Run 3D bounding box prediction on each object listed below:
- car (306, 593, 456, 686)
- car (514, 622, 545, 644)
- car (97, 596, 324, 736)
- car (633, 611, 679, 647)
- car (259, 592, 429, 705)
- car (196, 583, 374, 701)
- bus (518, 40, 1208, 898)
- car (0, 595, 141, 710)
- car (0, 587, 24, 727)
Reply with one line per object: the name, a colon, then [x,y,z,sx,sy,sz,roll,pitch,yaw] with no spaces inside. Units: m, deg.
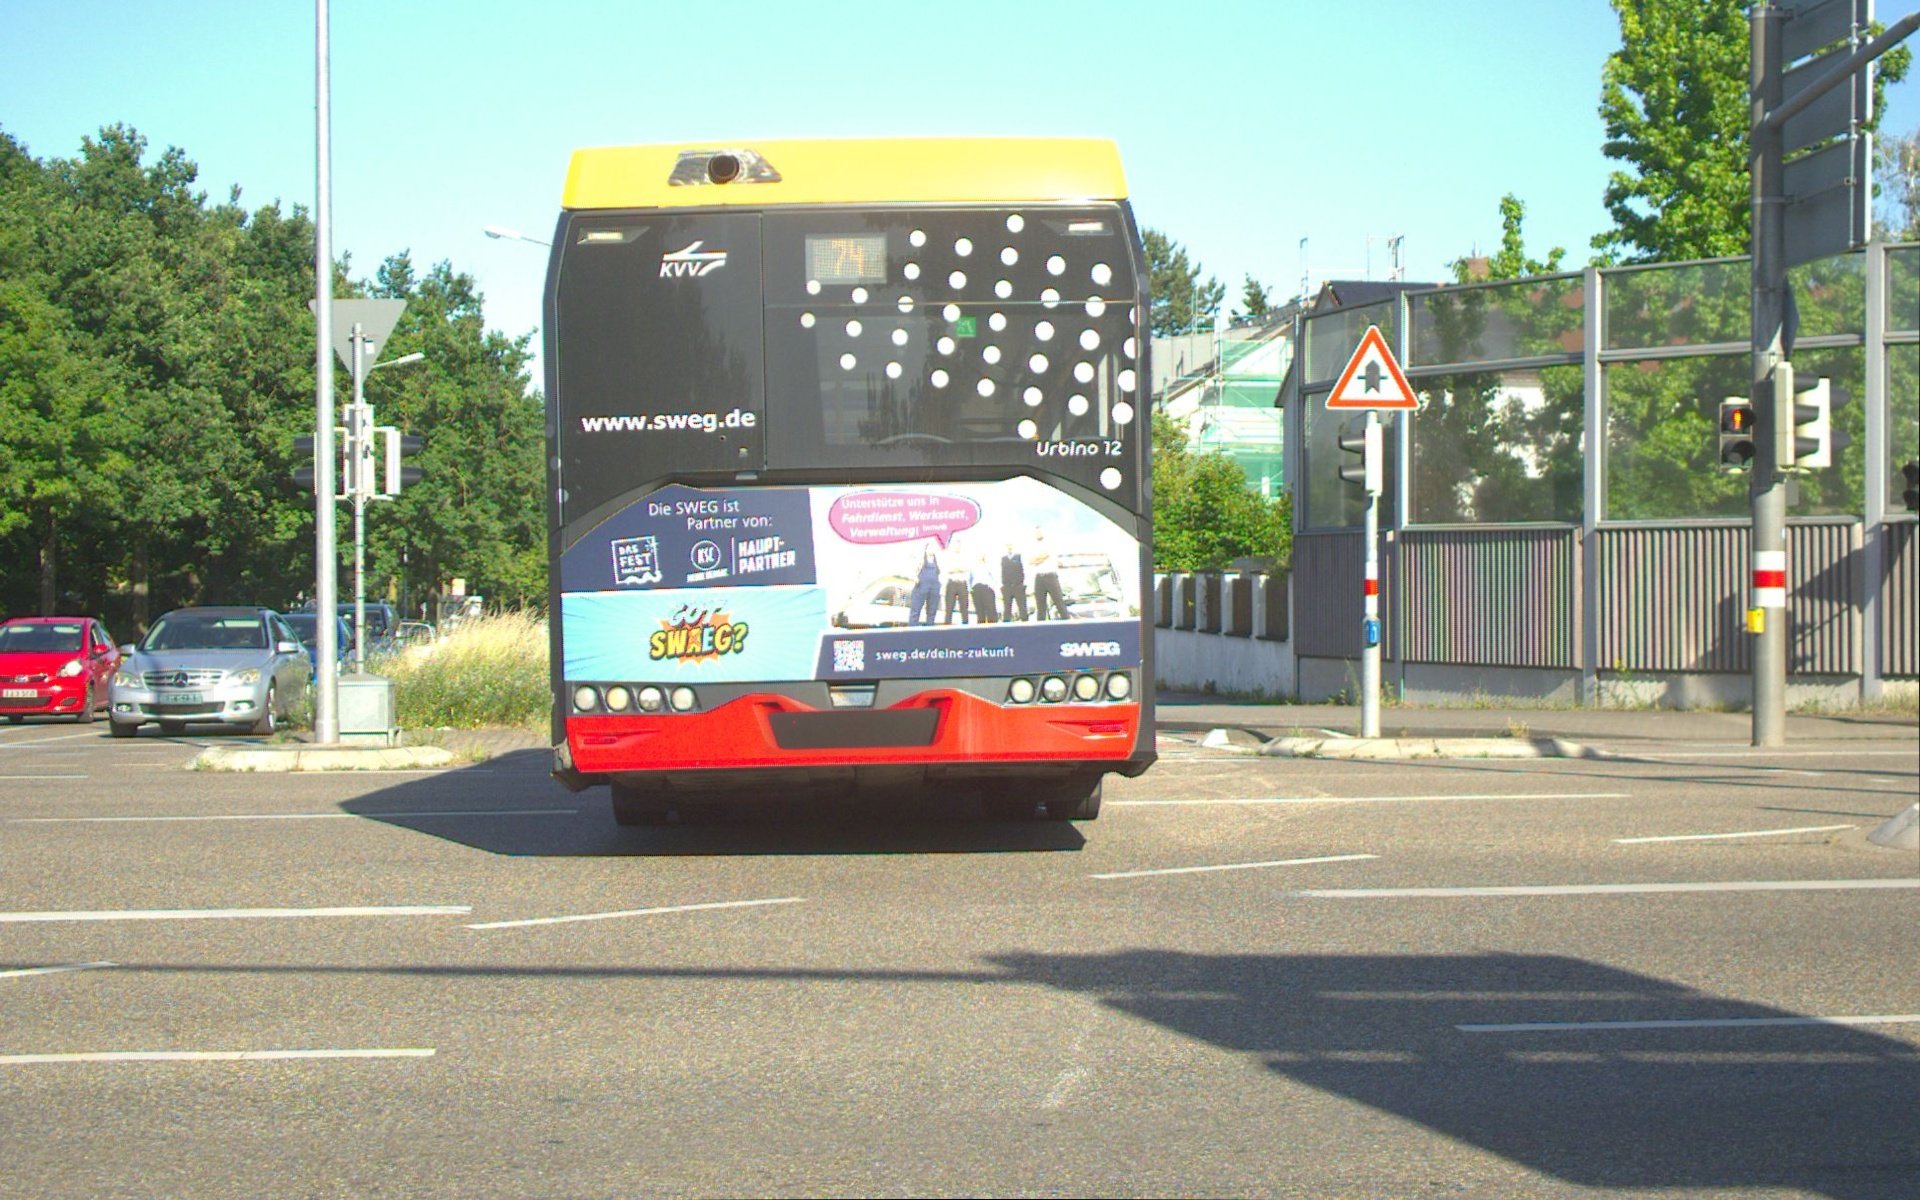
car: [-9.565,0.631,57.099,1.993,1.445,4.400,0,0,-3]
car: [-29.611,2.278,236.547,1.933,1.537,4.001,0,-1,-9]
car: [-8.512,0.713,39.392,1.793,1.501,4.530,0,0,-3]
car: [-14.936,1.428,168.672,1.933,1.736,4.001,0,-1,-9]
car: [-9.235,0.699,51.870,1.993,1.611,4.531,0,0,-3]
car: [-8.857,0.535,45.357,1.746,1.478,3.888,0,0,-3]
bus: [-0.629,-0.644,20.128,2.757,3.446,12.399,-1,1,-2]
car: [-12.227,0.677,46.348,1.645,1.478,3.714,0,0,-3]
car: [-12.186,0.677,39.167,1.993,1.638,4.530,0,0,-3]
